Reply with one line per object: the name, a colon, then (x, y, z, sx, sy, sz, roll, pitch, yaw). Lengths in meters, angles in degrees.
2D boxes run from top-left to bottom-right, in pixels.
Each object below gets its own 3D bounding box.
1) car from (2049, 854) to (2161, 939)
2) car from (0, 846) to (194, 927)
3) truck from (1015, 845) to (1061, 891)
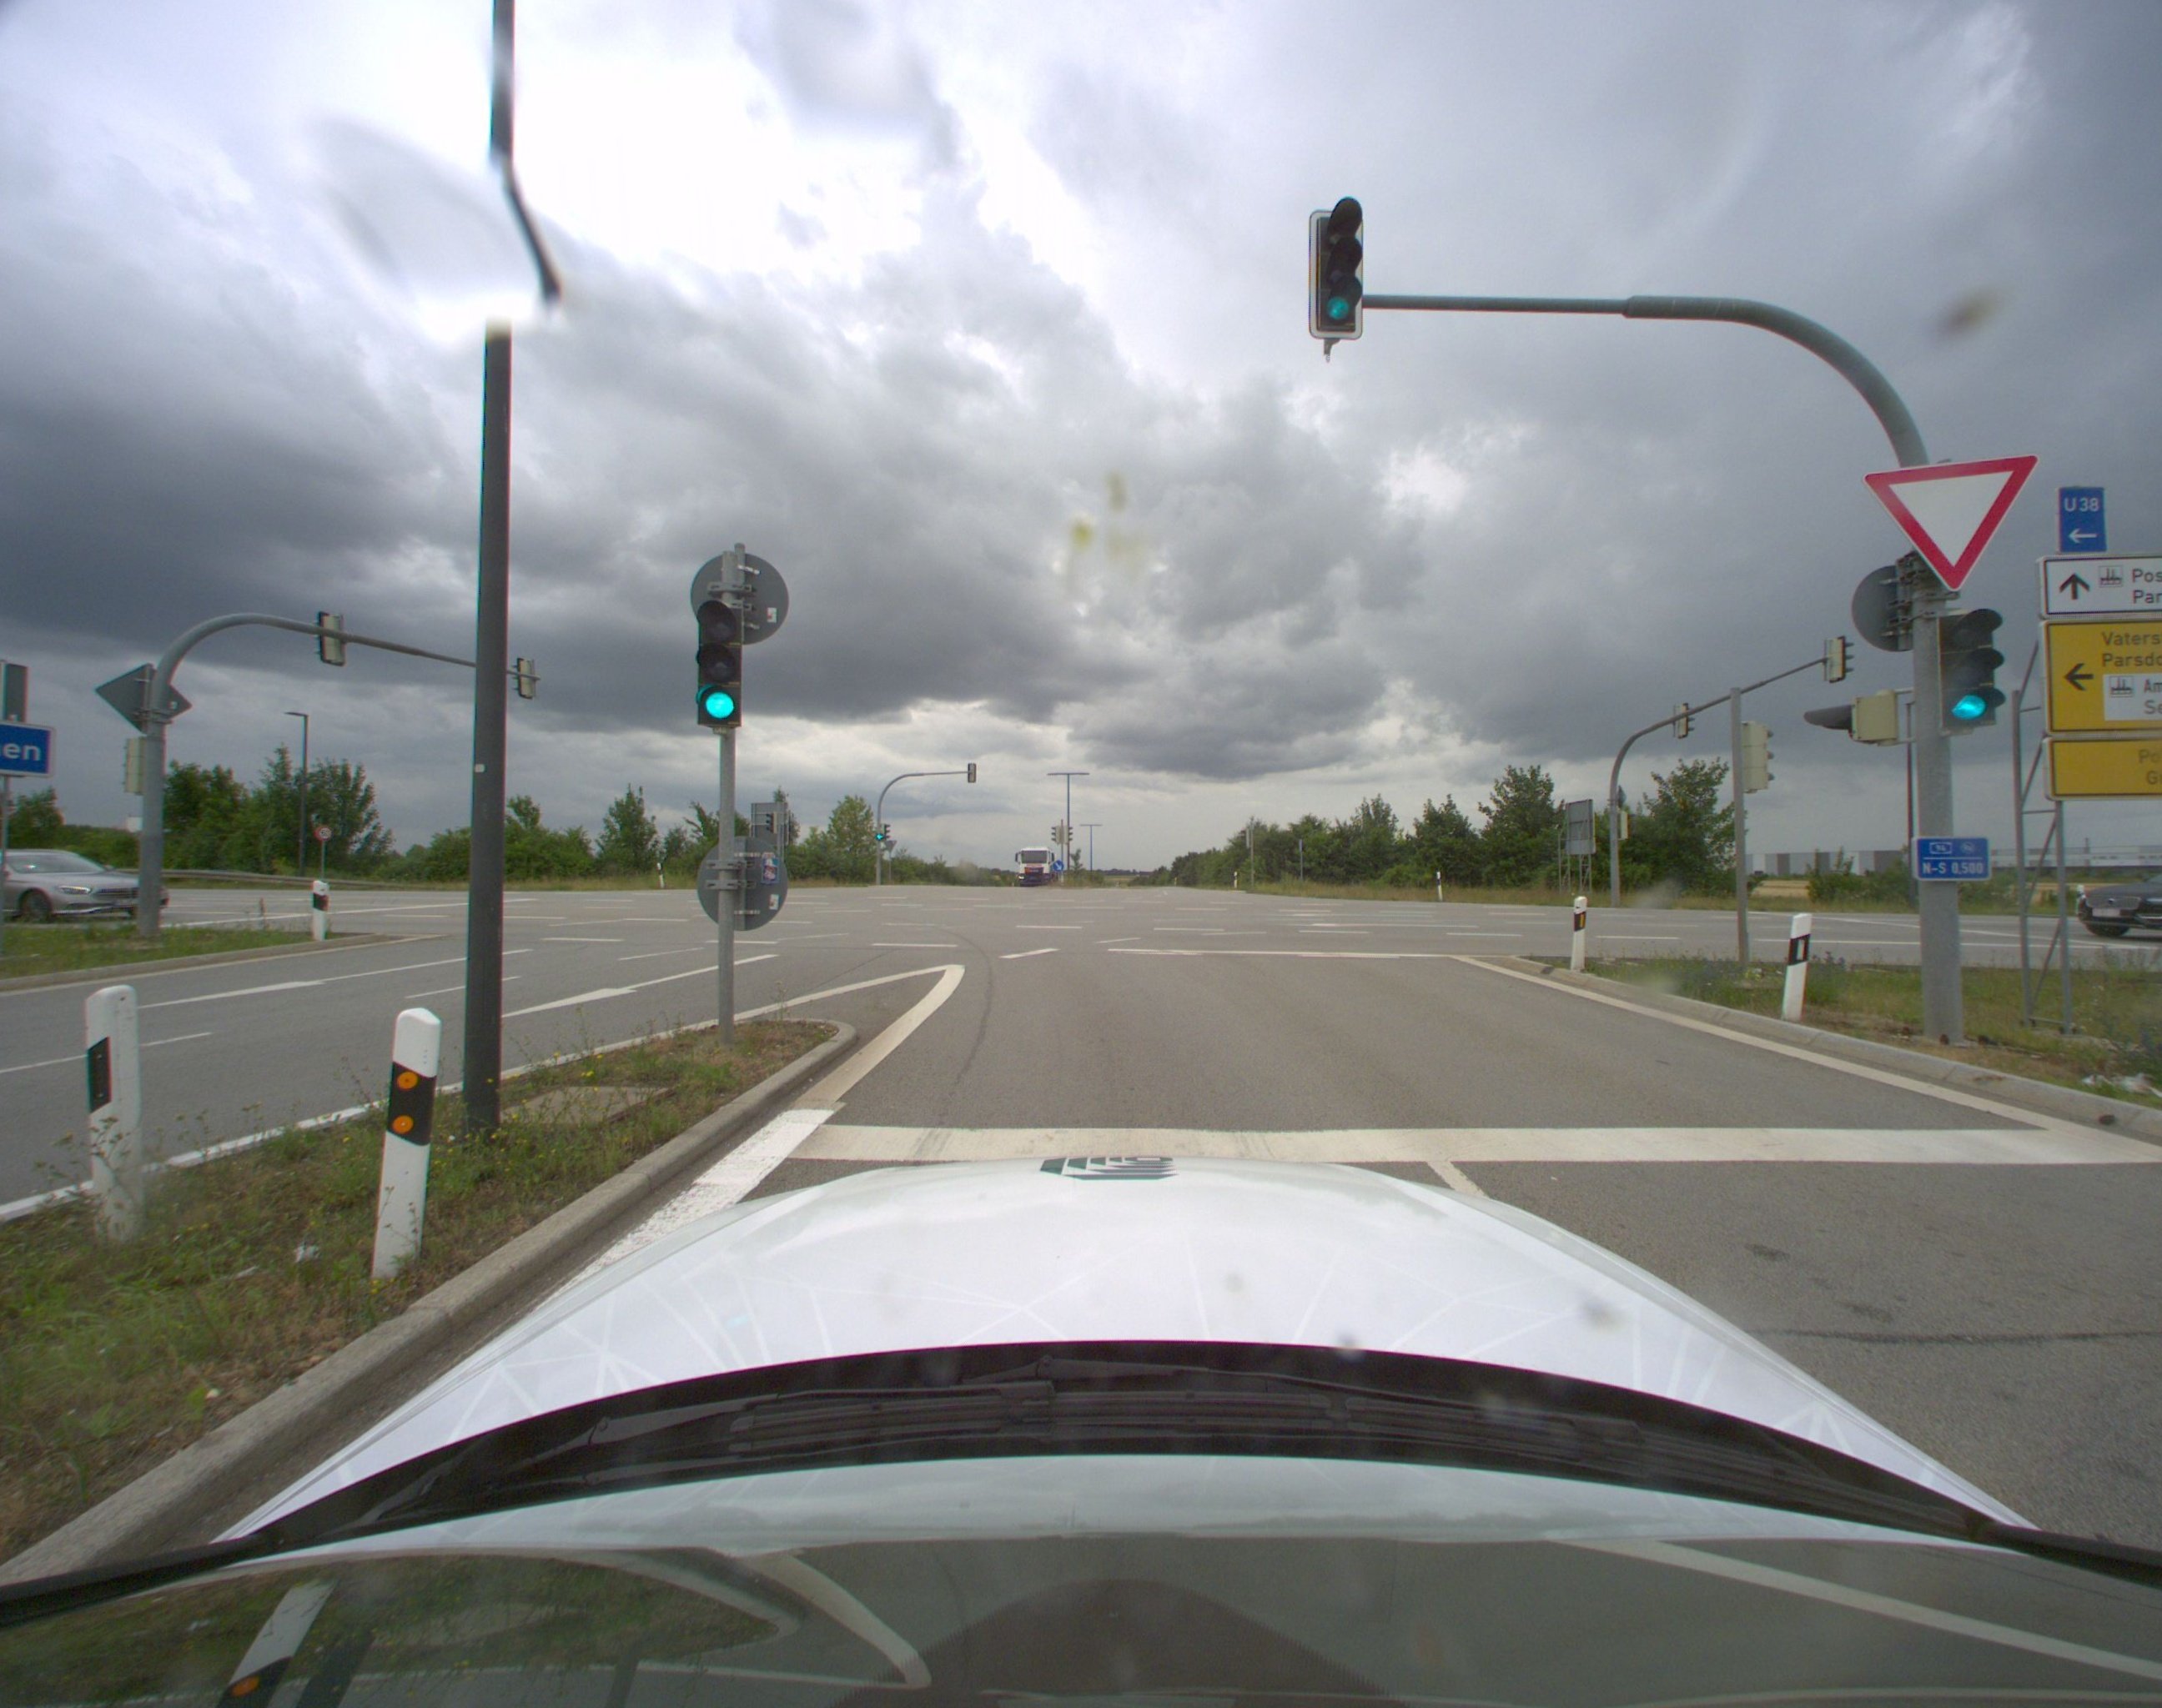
car: (24.043, 0.876, 16.903, 4.951, 1.684, 2.006, 0, -1, 10)
car: (-22.444, 0.642, 17.514, 4.909, 1.610, 1.924, 0, 1, 5)
truck: (-3.275, 1.193, 64.471, 2.858, 3.409, 8.653, -1, -2, 2)
